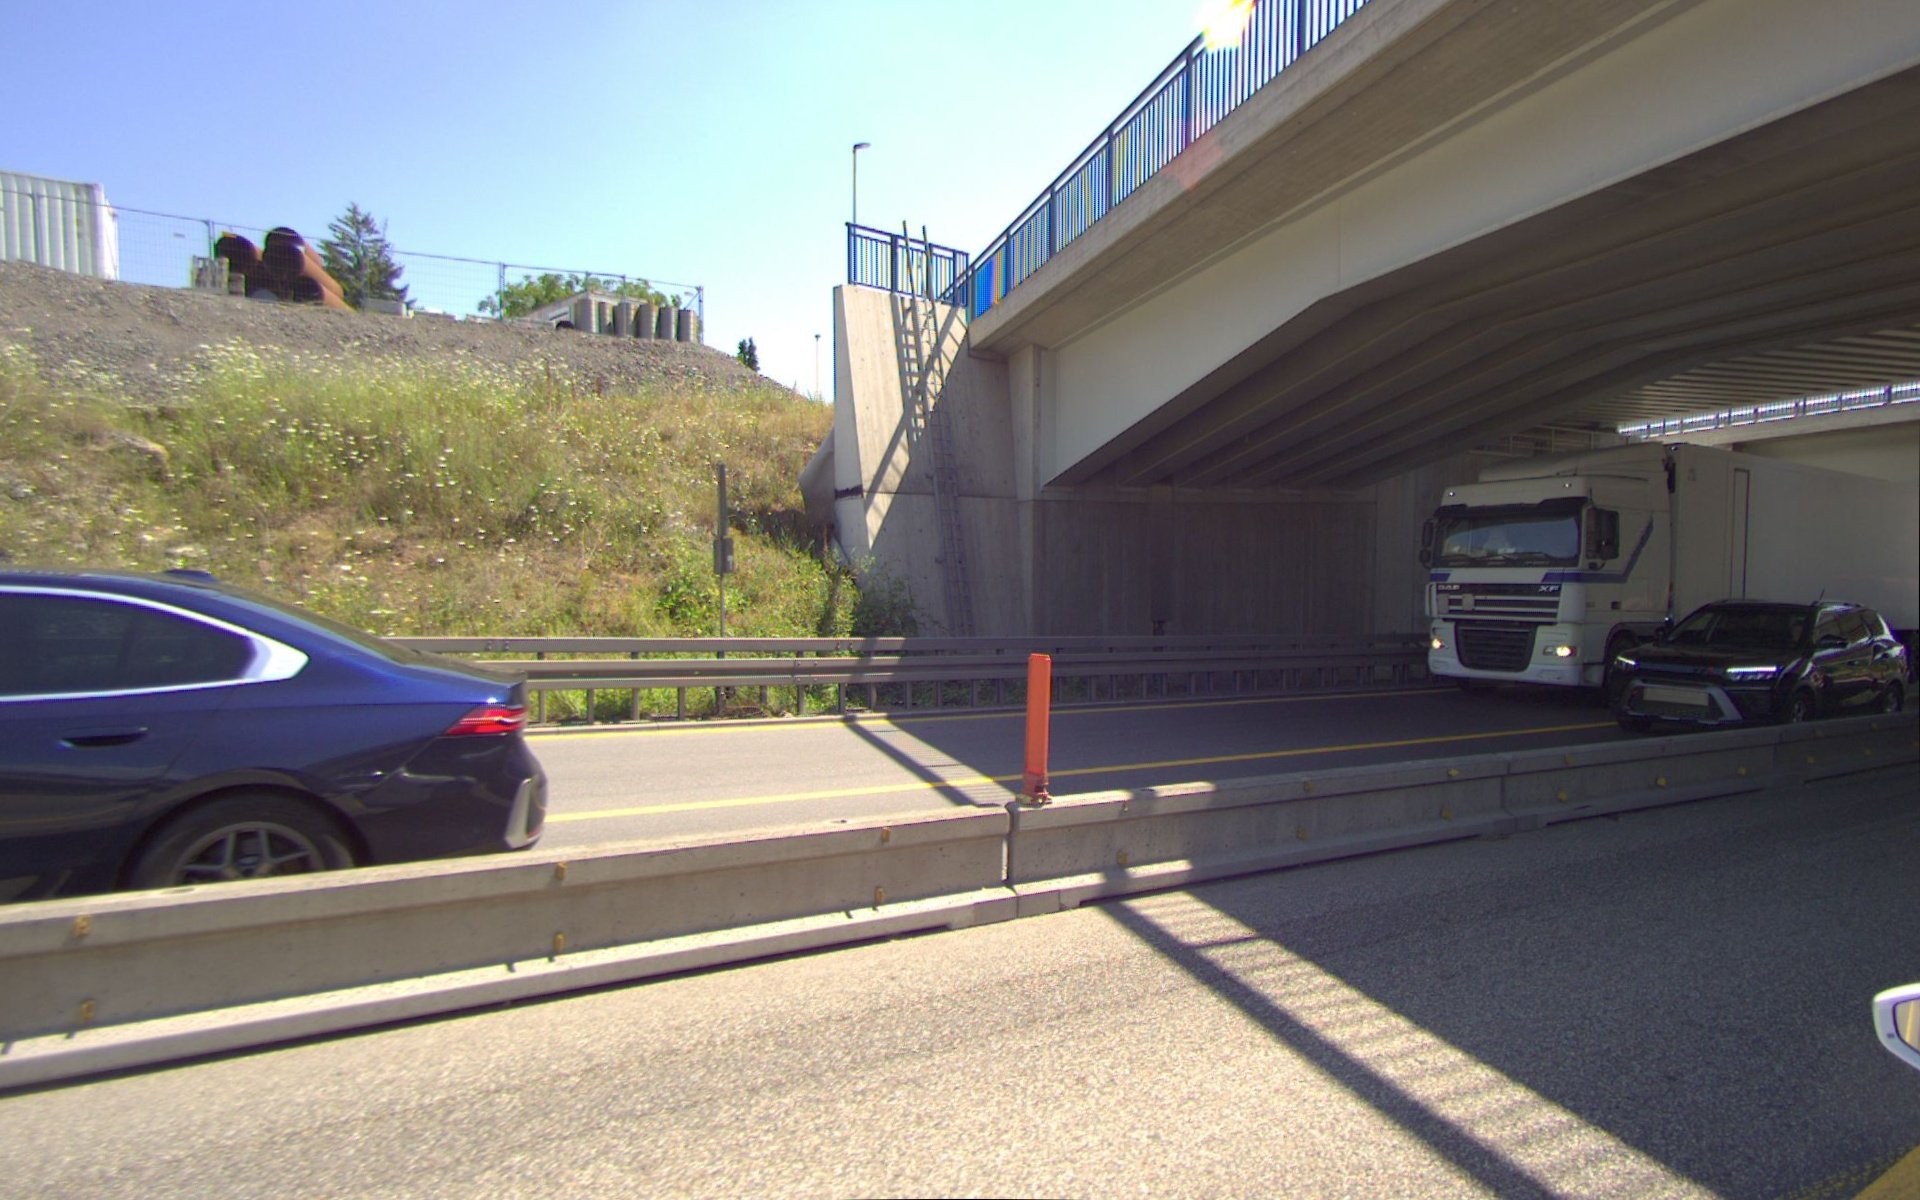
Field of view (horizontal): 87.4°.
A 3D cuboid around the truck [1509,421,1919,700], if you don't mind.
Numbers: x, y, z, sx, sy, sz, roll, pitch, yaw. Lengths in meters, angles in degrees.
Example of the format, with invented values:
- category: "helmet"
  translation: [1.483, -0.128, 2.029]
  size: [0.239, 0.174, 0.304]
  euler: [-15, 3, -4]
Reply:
- category: "truck"
  translation: [16.426, -0.399, 20.340]
  size: [13.333, 4.371, 2.755]
  euler: [2, 0, -30]

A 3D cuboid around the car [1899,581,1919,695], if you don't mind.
- category: "car"
  translation: [18.949, 0.712, 18.060]
  size: [4.912, 1.958, 1.790]
  euler: [1, 1, -32]

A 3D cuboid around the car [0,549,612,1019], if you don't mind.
- category: "car"
  translation: [-3.989, 0.573, 3.873]
  size: [4.718, 1.548, 1.846]
  euler: [2, 0, -31]

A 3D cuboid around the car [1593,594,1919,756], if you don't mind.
- category: "car"
  translation: [9.892, 0.788, 12.306]
  size: [4.470, 1.631, 1.713]
  euler: [0, 2, -31]

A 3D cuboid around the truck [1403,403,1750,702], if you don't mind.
- category: "truck"
  translation: [10.211, -0.602, 16.605]
  size: [5.125, 4.226, 2.647]
  euler: [2, 0, -30]
